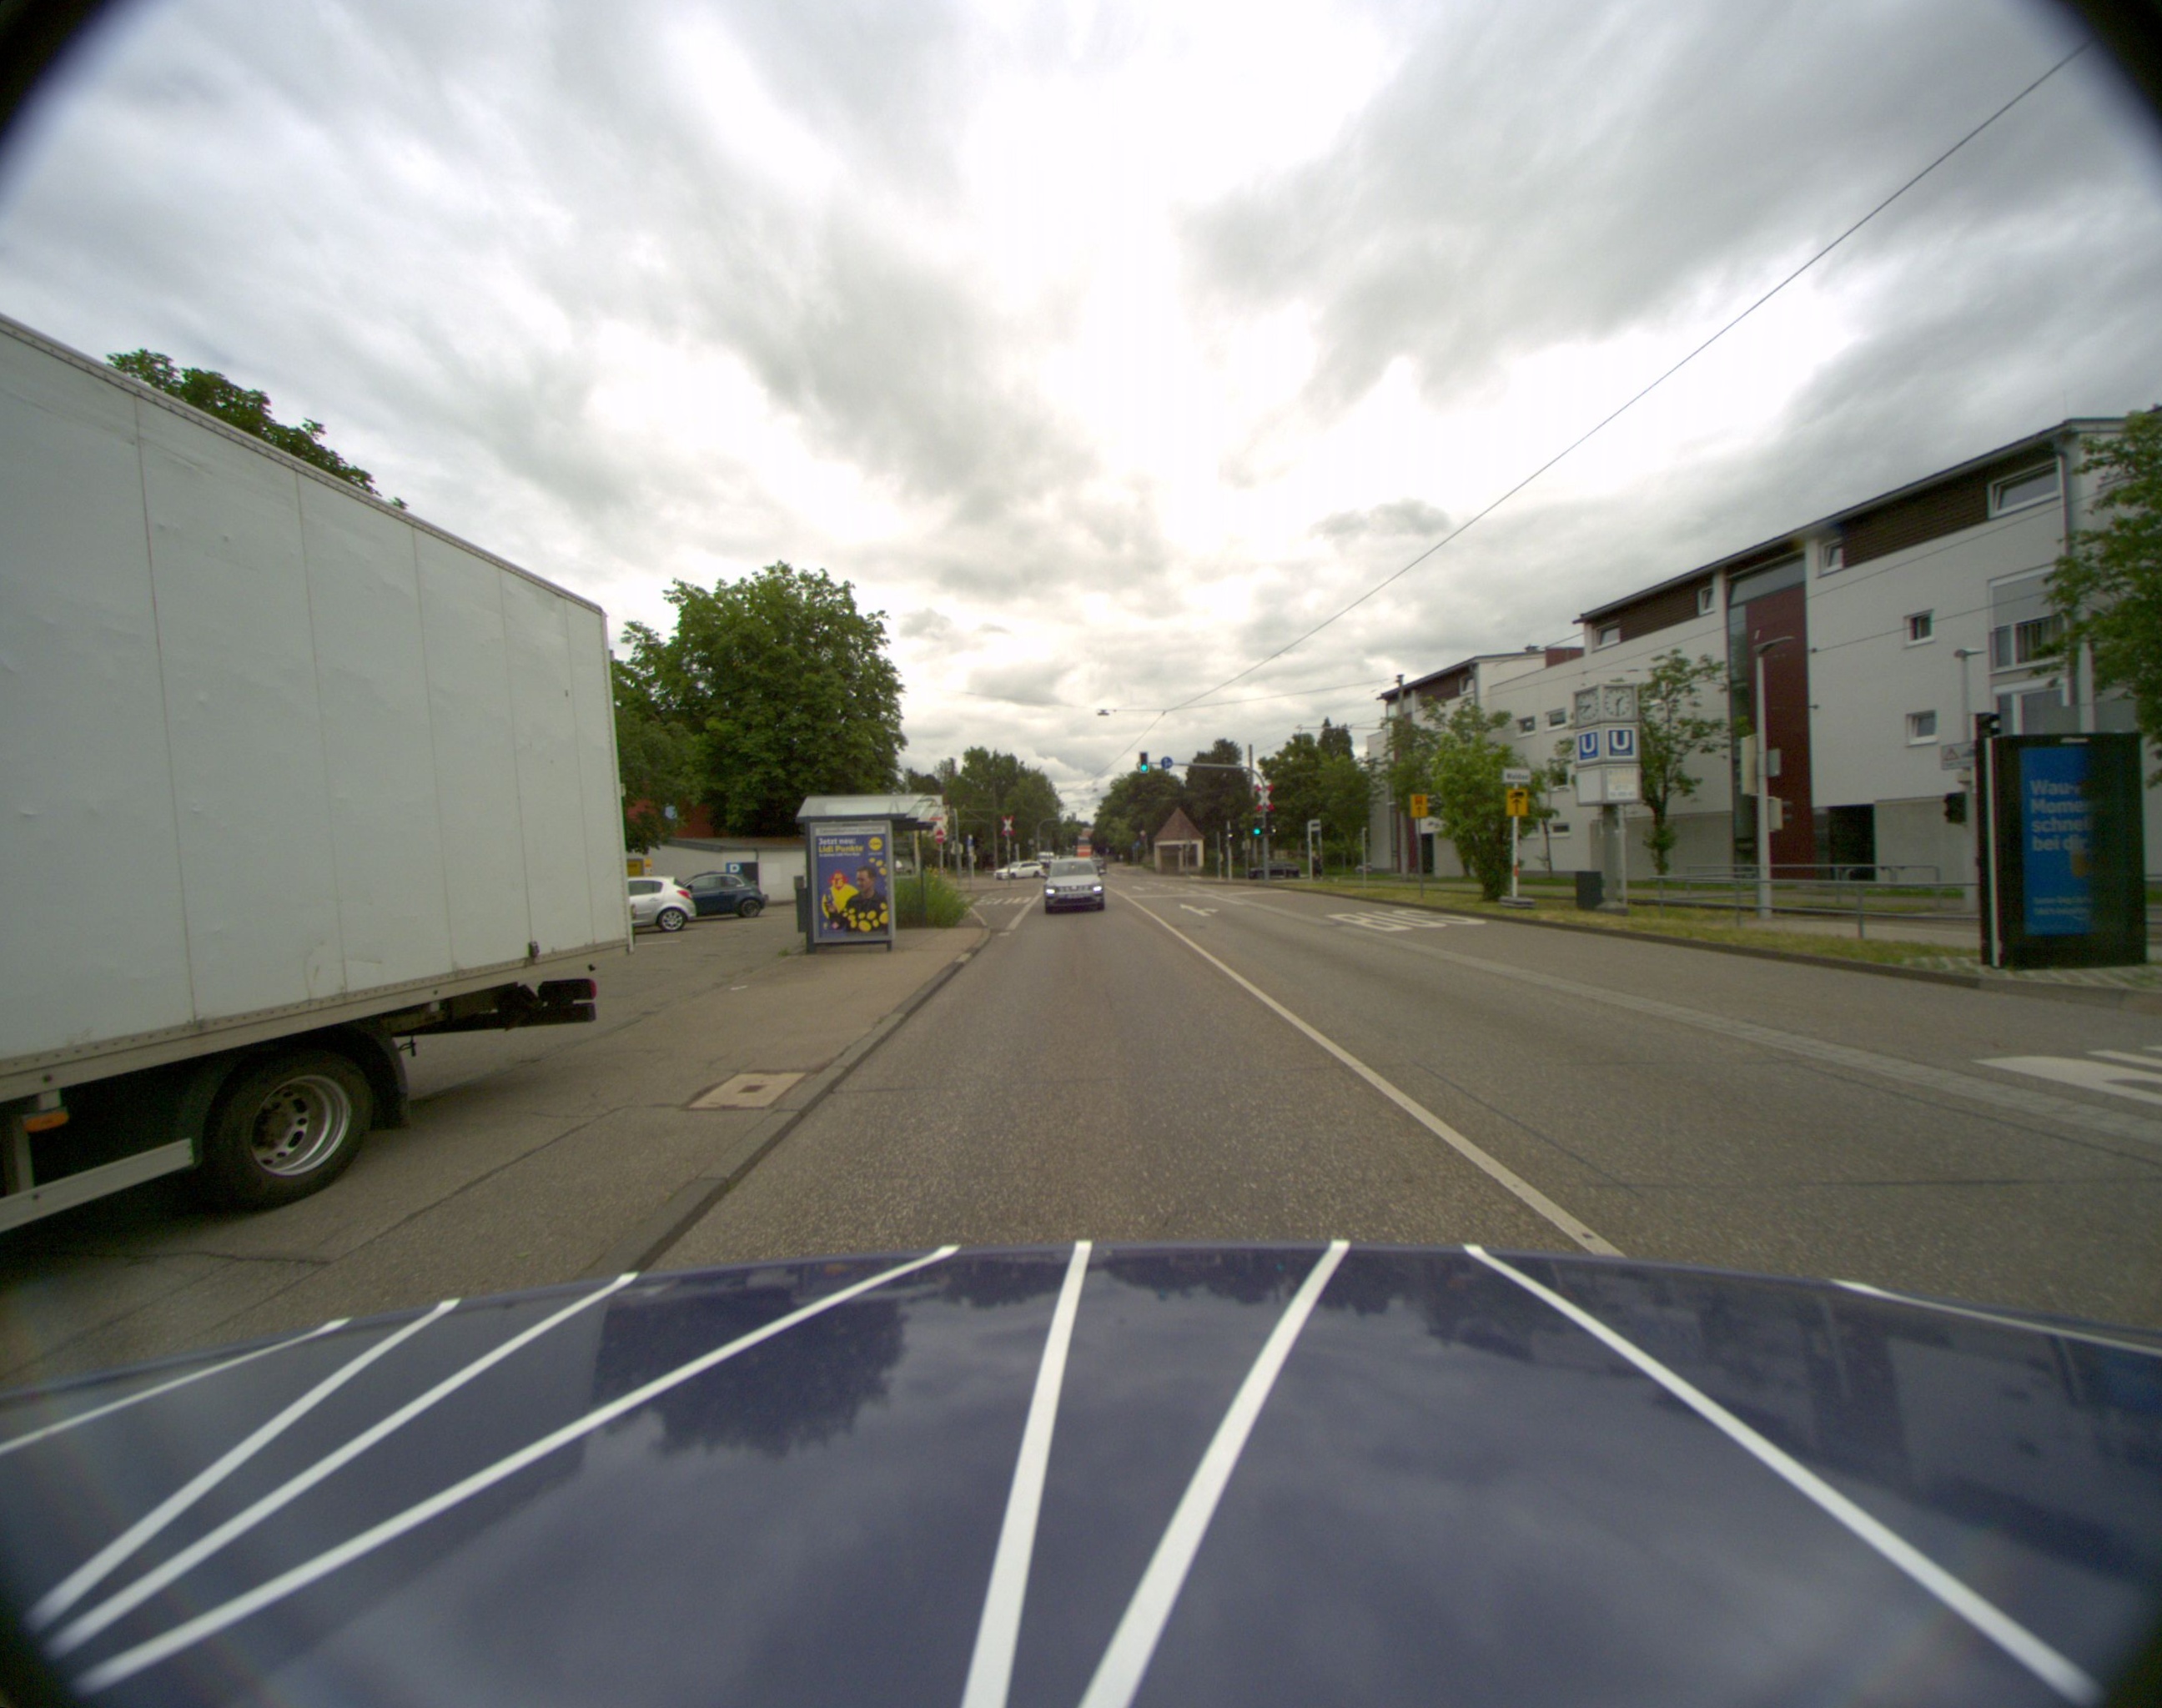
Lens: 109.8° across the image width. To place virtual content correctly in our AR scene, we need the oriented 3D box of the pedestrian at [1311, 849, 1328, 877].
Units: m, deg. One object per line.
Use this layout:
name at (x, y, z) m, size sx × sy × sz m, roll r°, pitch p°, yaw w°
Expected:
pedestrian at (14.153, 0.535, 45.169) m, size 0.677 × 1.634 × 0.819 m, roll 0°, pitch -1°, yaw -6°

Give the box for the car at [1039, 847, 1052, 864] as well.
car at (-5.789, 0.264, 123.722) m, size 2.095 × 2.589 × 6.679 m, roll -1°, pitch 0°, yaw -3°

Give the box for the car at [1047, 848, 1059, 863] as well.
car at (-5.097, 0.271, 140.562) m, size 2.046 × 2.588 × 5.965 m, roll -1°, pitch 1°, yaw -1°

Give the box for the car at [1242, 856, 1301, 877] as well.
car at (16.388, 1.095, 65.591) m, size 4.488 × 1.660 × 1.964 m, roll 1°, pitch 0°, yaw -8°

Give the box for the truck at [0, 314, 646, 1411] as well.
truck at (-4.746, 0.041, 1.926) m, size 2.579 × 3.504 × 7.810 m, roll -2°, pitch 0°, yaw 1°

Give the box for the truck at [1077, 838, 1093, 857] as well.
truck at (0.672, -1.231, 149.112) m, size 2.776 × 3.697 × 8.466 m, roll 1°, pitch 0°, yaw -2°

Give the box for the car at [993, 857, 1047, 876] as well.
car at (-5.365, 1.117, 67.012) m, size 1.911 × 1.527 × 4.665 m, roll -2°, pitch 0°, yaw 42°

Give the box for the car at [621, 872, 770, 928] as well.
car at (-12.282, 1.400, 24.264) m, size 4.006 × 1.468 × 1.875 m, roll -2°, pitch 1°, yaw -33°

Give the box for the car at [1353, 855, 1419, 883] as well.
car at (24.561, 1.200, 61.221) m, size 4.469 × 2.002 × 1.999 m, roll 2°, pitch 0°, yaw -7°

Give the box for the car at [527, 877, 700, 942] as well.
car at (-11.563, 1.335, 18.973) m, size 3.522 × 1.369 × 1.544 m, roll -1°, pitch -2°, yaw -31°

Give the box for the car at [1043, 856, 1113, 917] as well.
car at (-0.194, 0.955, 24.496) m, size 1.835 × 1.610 × 4.486 m, roll -4°, pitch 1°, yaw -4°

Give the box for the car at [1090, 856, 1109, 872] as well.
car at (1.925, 1.027, 79.259) m, size 1.744 × 1.550 × 4.182 m, roll -1°, pitch 0°, yaw -2°

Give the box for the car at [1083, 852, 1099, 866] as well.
car at (1.325, 0.582, 101.051) m, size 1.835 × 1.660 × 4.487 m, roll -5°, pitch 1°, yaw -2°

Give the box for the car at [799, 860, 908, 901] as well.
car at (-10.694, 1.208, 35.980) m, size 1.846 × 1.738 × 4.705 m, roll -2°, pitch 0°, yaw 37°

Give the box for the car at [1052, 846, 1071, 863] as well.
car at (-2.101, 0.071, 79.623) m, size 1.812 × 1.736 × 3.999 m, roll -2°, pitch 0°, yaw -3°
